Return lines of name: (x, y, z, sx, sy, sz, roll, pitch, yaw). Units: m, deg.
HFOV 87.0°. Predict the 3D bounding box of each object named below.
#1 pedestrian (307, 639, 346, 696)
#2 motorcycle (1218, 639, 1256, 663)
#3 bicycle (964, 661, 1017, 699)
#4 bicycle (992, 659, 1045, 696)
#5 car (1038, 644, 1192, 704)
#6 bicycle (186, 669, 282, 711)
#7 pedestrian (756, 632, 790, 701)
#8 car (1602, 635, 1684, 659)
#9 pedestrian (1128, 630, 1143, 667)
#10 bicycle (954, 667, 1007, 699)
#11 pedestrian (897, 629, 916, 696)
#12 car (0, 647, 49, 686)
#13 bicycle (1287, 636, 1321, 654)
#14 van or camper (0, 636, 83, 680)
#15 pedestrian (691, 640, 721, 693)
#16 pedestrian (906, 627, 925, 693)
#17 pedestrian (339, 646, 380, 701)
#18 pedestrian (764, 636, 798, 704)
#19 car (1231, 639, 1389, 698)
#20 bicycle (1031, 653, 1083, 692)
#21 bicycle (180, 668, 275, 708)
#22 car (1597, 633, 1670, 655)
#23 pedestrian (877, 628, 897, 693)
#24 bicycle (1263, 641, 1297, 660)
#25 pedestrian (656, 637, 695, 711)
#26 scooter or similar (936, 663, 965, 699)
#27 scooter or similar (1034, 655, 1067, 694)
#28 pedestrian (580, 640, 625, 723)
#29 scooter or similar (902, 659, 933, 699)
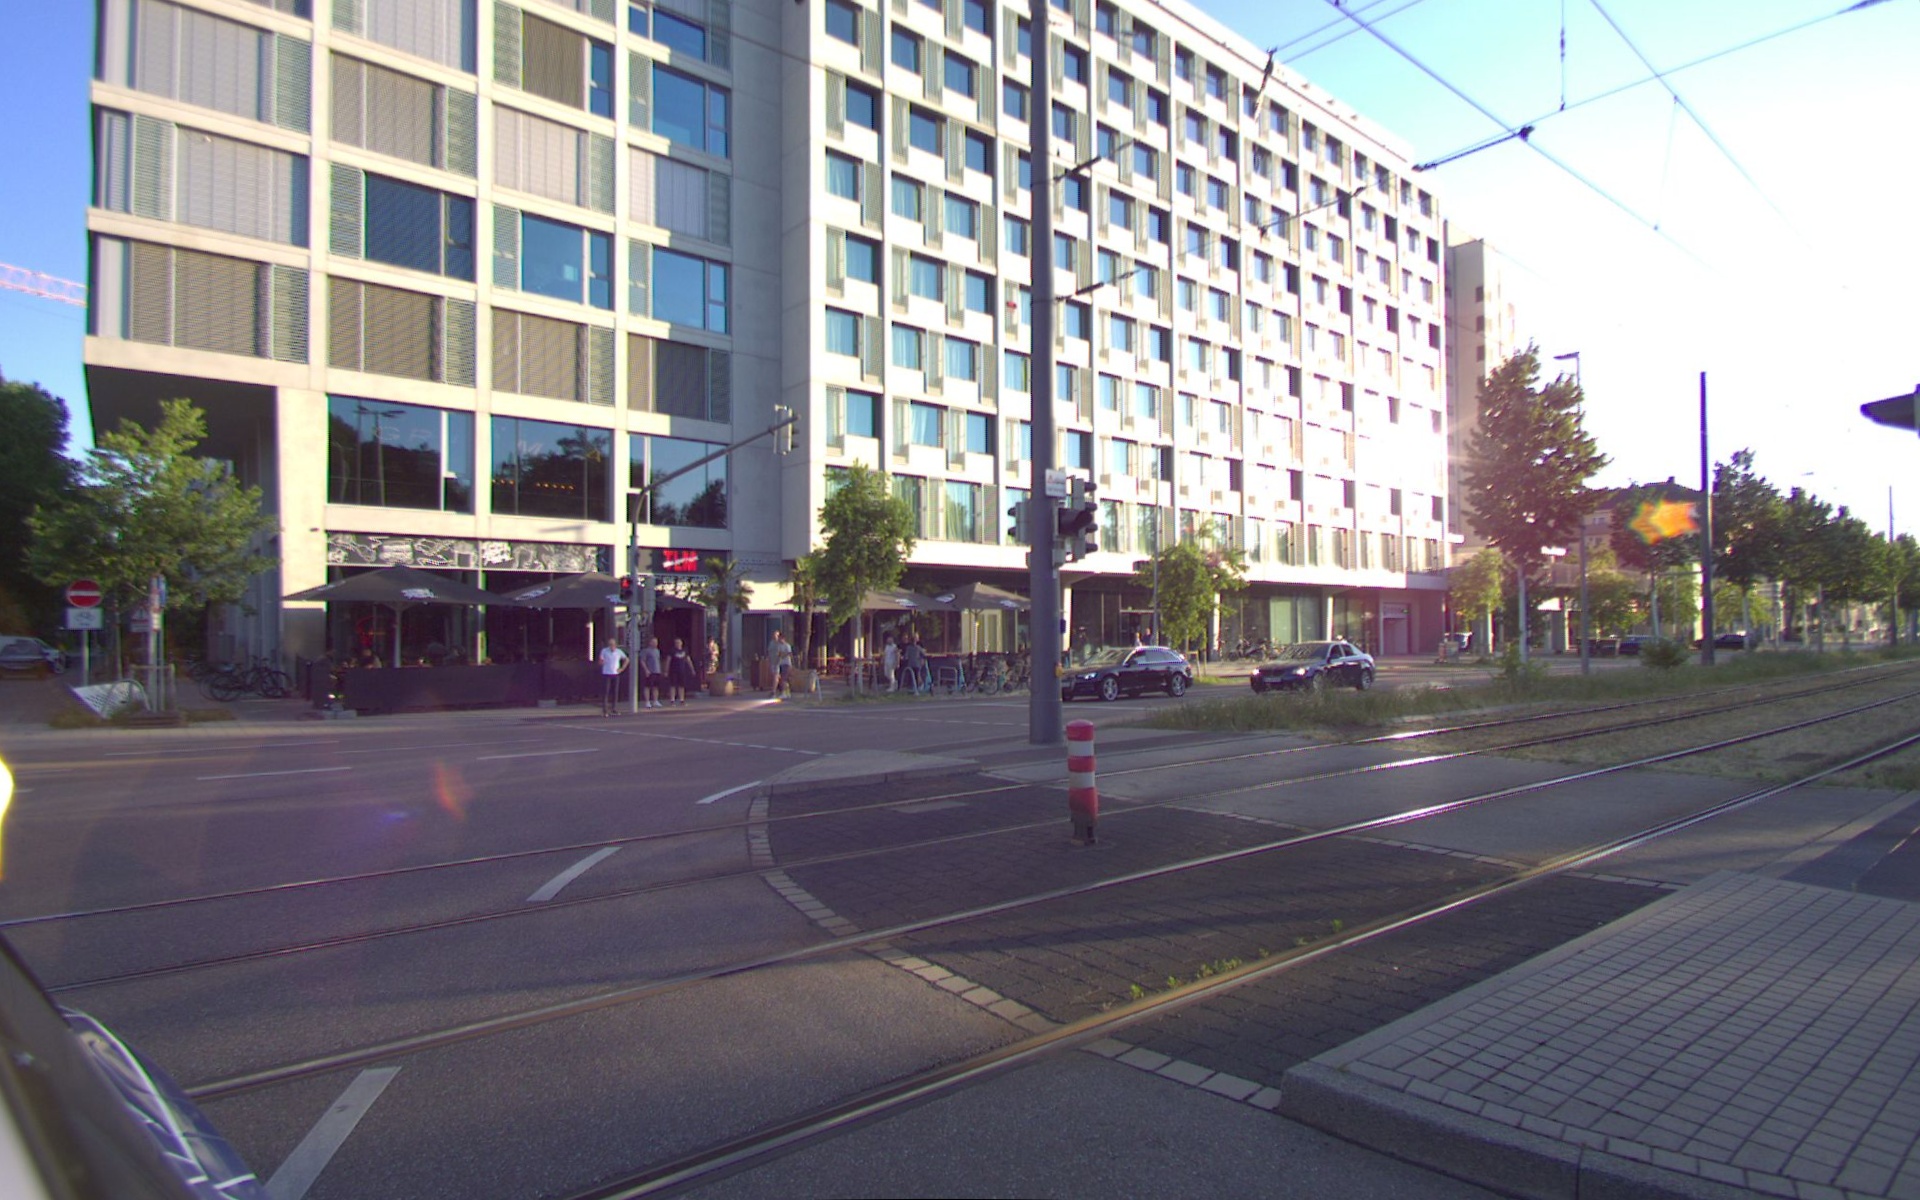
pedestrian: (-16.552, 1.749, 26.441, 0.760, 1.474, 0.607, 1, -3, -41)
motorcycle: (14.449, 2.649, 52.819, 1.893, 1.180, 0.510, -1, -2, 35)
bicycle: (0.933, 2.475, 31.493, 0.436, 1.067, 1.917, 1, -1, -43)
bicycle: (1.866, 2.469, 32.398, 0.436, 1.067, 1.917, 1, -1, -43)
car: (4.277, 1.993, 27.536, 4.159, 1.451, 1.893, 1, -5, -42)
bicycle: (-18.304, 2.247, 25.546, 1.948, 0.881, 0.395, -1, 1, -42)
pedestrian: (-5.375, 1.890, 29.119, 0.697, 1.938, 0.682, 1, 0, -39)
car: (47.634, 3.266, 70.672, 4.238, 1.602, 2.003, 0, -2, 10)
pedestrian: (8.103, 2.227, 46.657, 0.508, 1.669, 0.431, 1, 0, -39)
bicycle: (0.623, 2.549, 31.285, 0.436, 0.877, 1.872, 1, -1, -43)
pedestrian: (-1.639, 1.905, 31.126, 0.544, 2.029, 0.502, -1, -2, 1)
car: (-41.659, 2.907, 44.675, 1.977, 1.610, 3.712, 1, -3, -40)
bicycle: (19.348, 2.525, 56.933, 0.415, 1.028, 1.794, 2, -3, -44)
van or camper: (-50.340, 3.106, 54.099, 4.870, 2.139, 2.499, -2, -1, -31)
pedestrian: (-7.838, 2.039, 31.262, 0.697, 1.616, 0.683, 1, -2, -34)
pedestrian: (-1.398, 1.873, 31.755, 0.544, 2.029, 0.502, -1, -2, 1)
pedestrian: (-16.179, 1.964, 27.278, 0.604, 1.425, 0.764, -2, -2, 33)
pedestrian: (-5.032, 1.955, 28.491, 0.697, 1.835, 0.618, 1, 0, -38)
car: (9.857, 1.879, 28.313, 4.726, 1.452, 2.024, 1, -4, -41)
bicycle: (3.217, 2.413, 33.820, 0.436, 1.208, 1.917, 1, -1, -43)
bicycle: (-18.936, 2.267, 26.190, 1.948, 0.881, 0.395, -1, 1, -42)
car: (50.060, 3.266, 75.248, 4.087, 1.446, 1.819, 1, 0, 11)
pedestrian: (-2.276, 1.882, 31.615, 0.544, 2.029, 0.502, -1, -2, 1)
bicycle: (17.413, 2.746, 55.073, 0.415, 1.028, 1.749, 2, -3, -44)
pedestrian: (-7.331, 1.896, 26.120, 0.670, 1.850, 0.709, 2, -1, -42)
scooter or similar: (-0.286, 2.431, 30.574, 0.286, 1.041, 1.011, 3, -3, -40)
scooter or similar: (2.973, 2.435, 33.210, 0.332, 1.227, 1.187, 1, -3, -40)
pedestrian: (-8.355, 1.882, 23.632, 0.751, 1.850, 0.709, 1, 0, -42)
scooter or similar: (-1.266, 2.336, 30.047, 0.332, 1.093, 0.977, 5, -2, -40)
